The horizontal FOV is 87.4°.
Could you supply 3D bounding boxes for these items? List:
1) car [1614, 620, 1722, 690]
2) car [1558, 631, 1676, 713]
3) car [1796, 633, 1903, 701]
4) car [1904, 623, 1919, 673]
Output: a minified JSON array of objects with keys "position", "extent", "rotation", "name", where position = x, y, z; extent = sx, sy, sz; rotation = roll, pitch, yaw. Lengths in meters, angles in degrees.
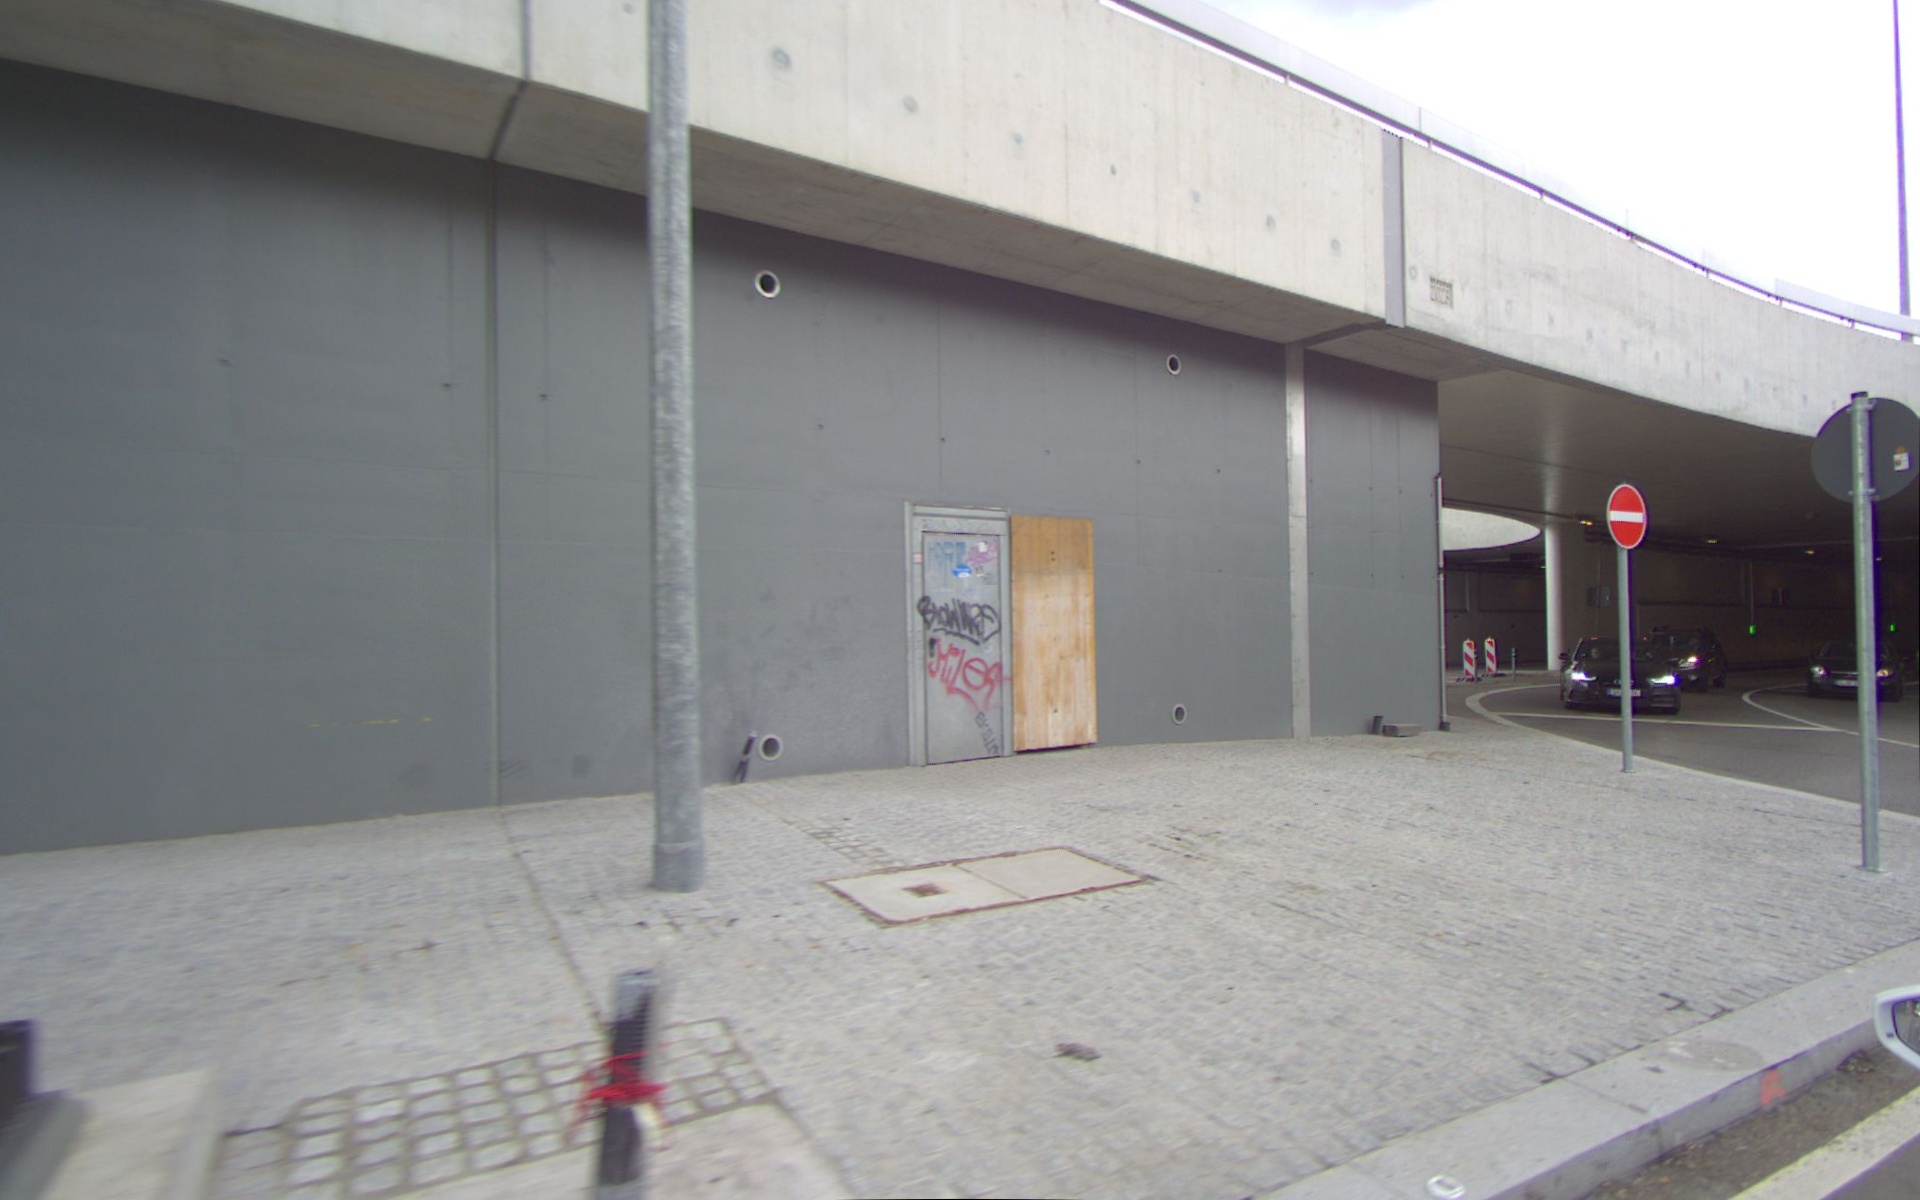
[{"position":[18.928,1.383,26.787],"extent":[1.774,1.621,4.303],"rotation":[3,1,43],"name":"car"},{"position":[13.441,1.385,20.689],"extent":[1.825,1.462,4.832],"rotation":[-1,-2,32],"name":"car"},{"position":[21.719,1.565,24.664],"extent":[1.643,1.460,4.097],"rotation":[-1,-1,37],"name":"car"},{"position":[33.692,1.582,33.944],"extent":[4.742,1.625,1.795],"rotation":[0,-1,-37],"name":"car"}]
